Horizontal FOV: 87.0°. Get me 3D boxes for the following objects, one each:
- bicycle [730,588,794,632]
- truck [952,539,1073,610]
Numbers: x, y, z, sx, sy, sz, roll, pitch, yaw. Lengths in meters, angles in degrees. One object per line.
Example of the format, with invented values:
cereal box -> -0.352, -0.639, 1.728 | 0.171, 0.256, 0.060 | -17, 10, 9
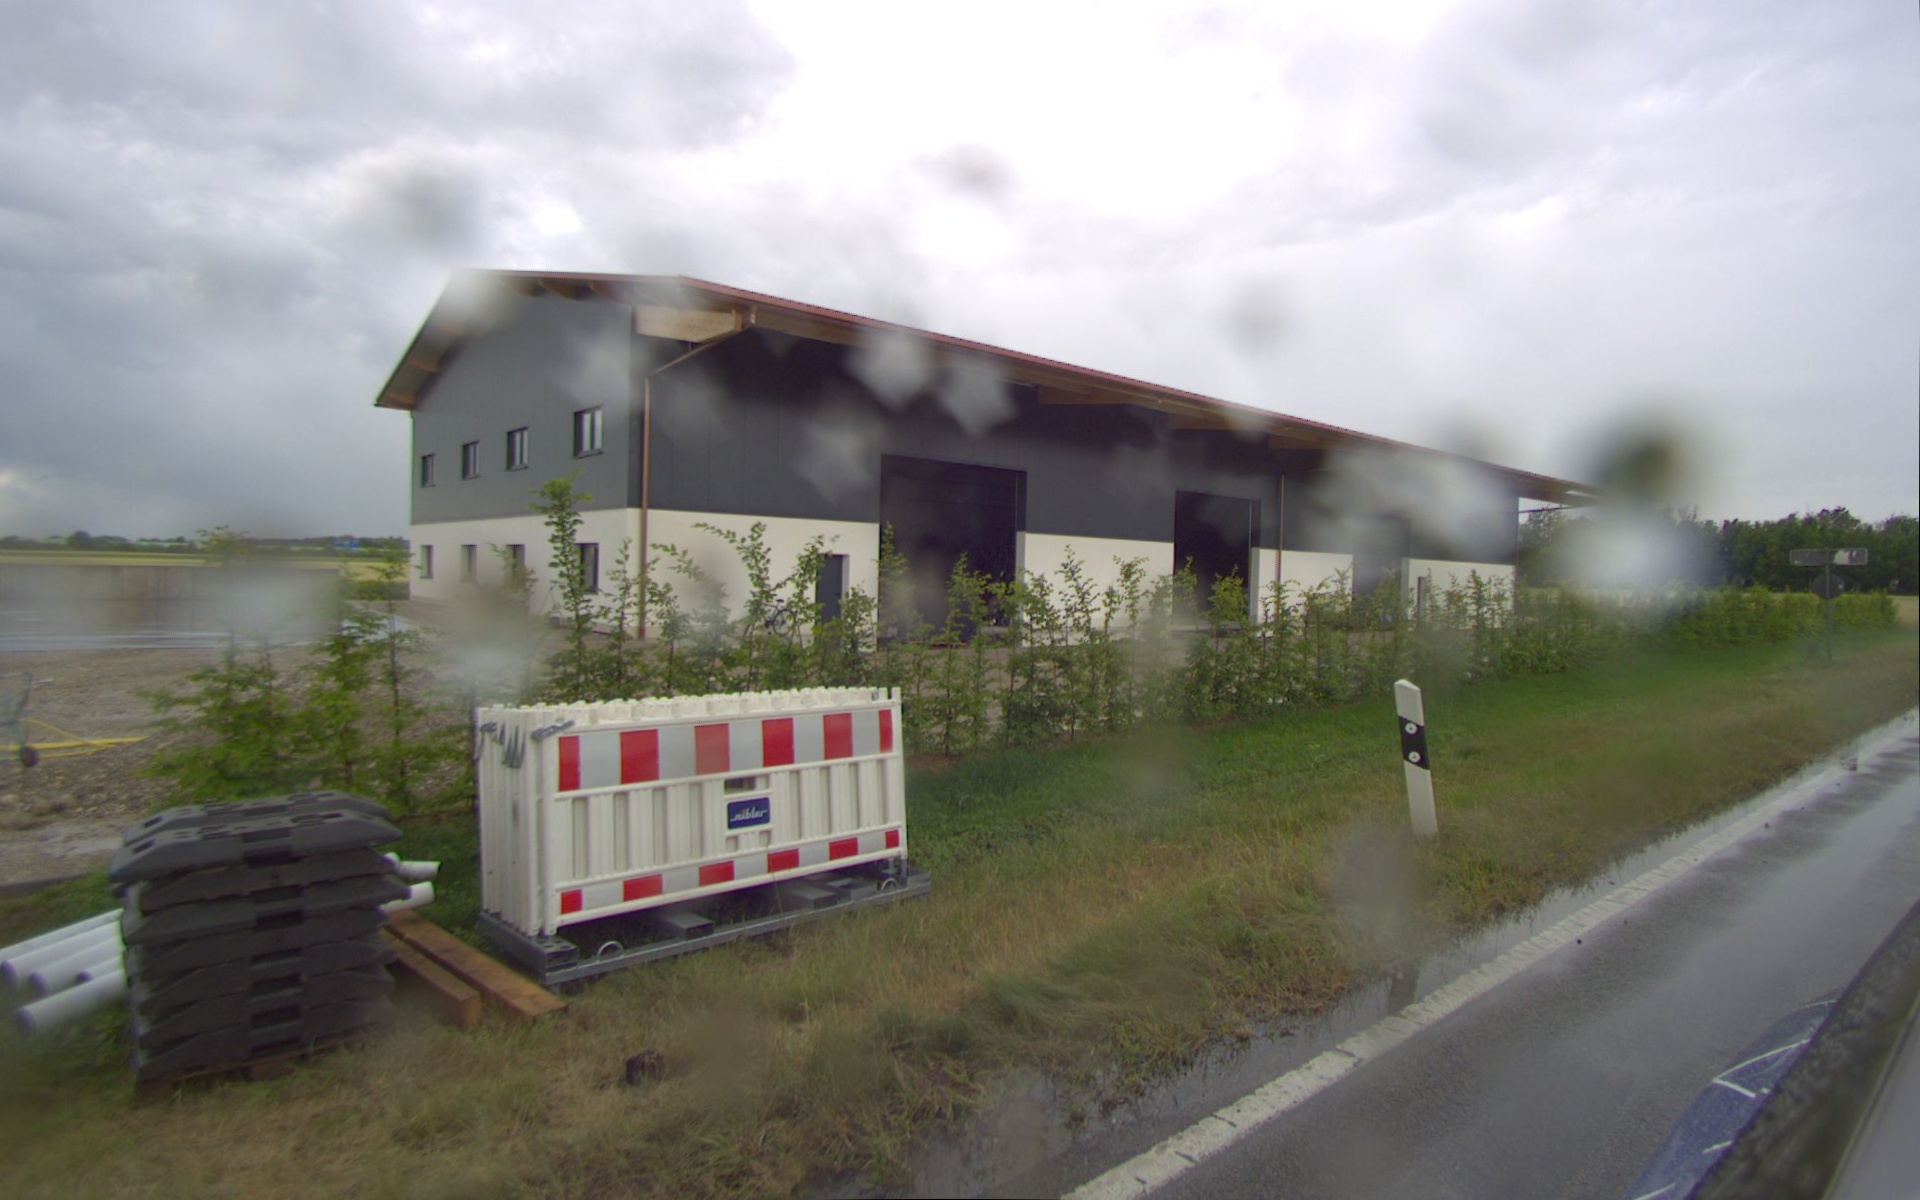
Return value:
bicycle -> -5.041, 0.242, 25.825 | 1.631, 1.085, 0.391 | 0, 2, -41
truck -> 2.433, -1.170, 46.160 | 5.250, 3.050, 2.495 | 0, 2, -41
